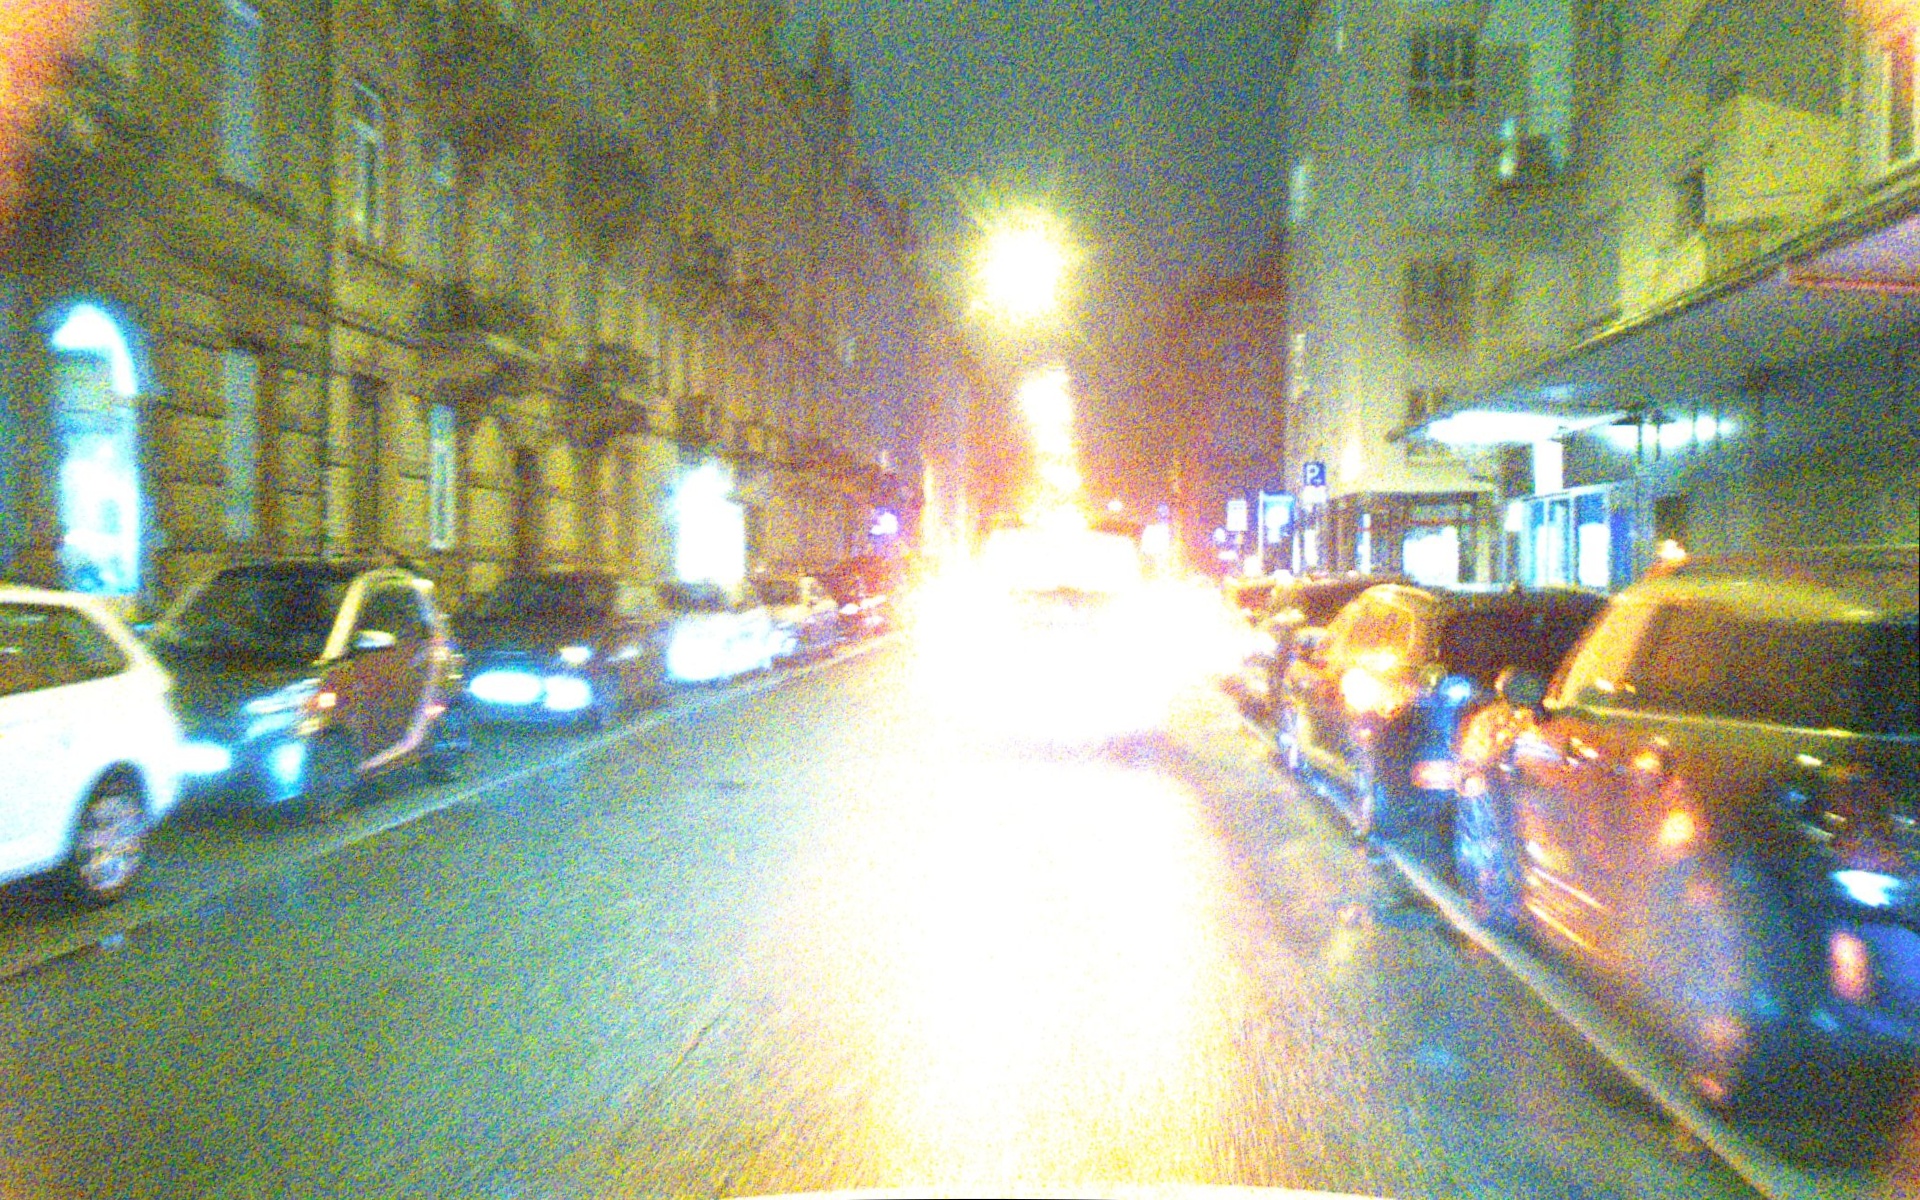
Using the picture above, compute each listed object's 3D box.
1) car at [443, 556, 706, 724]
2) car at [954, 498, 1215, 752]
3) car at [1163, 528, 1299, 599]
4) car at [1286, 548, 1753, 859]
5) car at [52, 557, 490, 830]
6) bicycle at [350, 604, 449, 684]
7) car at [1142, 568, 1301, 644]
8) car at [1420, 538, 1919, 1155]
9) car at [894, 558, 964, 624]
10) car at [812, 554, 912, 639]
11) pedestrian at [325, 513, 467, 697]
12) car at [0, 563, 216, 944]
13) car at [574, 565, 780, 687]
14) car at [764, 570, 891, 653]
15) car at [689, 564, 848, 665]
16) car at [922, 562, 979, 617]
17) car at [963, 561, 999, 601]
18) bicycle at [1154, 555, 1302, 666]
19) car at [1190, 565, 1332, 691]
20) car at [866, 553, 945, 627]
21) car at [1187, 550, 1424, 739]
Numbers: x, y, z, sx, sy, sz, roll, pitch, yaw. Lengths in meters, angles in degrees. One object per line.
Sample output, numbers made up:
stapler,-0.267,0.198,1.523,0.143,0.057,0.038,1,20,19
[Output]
car,-3.722,0.317,16.540,1.553,1.474,3.505,1,1,4
car,1.048,0.157,15.668,2.079,2.026,4.602,1,1,1
car,8.152,-1.100,49.994,3.903,2.048,2.001,-1,1,5
car,3.338,0.528,10.796,1.716,1.564,4.400,1,0,3
car,-4.366,0.505,10.906,1.553,1.536,2.789,1,1,4
bicycle,-7.120,0.545,21.095,0.439,0.975,2.015,0,-1,4
car,7.211,0.172,45.856,3.917,2.049,1.994,0,-1,-13
car,3.127,0.651,6.346,1.716,1.593,4.156,1,0,3
car,-0.989,-0.313,54.978,1.952,2.048,4.002,2,1,4
car,-2.324,-0.106,40.175,1.952,1.894,4.096,2,1,2
pedestrian,-6.070,0.046,17.846,1.010,1.897,0.977,2,0,18
car,-4.689,0.623,6.327,1.553,1.488,4.027,3,1,4
car,-3.619,0.259,21.890,1.654,1.425,4.319,1,1,4
car,-2.551,0.196,32.749,1.952,1.474,4.002,2,1,3
car,-3.131,0.175,27.922,1.717,1.474,4.626,3,1,5
car,-0.339,-0.439,66.375,1.952,2.048,4.002,2,1,3
car,1.160,-1.035,90.555,1.713,2.048,4.002,2,1,3
bicycle,4.382,0.175,27.188,2.271,1.667,0.889,-3,0,6
car,4.100,0.350,22.932,1.558,1.570,3.422,1,0,4
car,-1.577,-0.304,49.258,1.952,2.048,4.002,2,1,3
car,3.359,0.390,16.778,1.716,1.636,3.991,1,0,3
